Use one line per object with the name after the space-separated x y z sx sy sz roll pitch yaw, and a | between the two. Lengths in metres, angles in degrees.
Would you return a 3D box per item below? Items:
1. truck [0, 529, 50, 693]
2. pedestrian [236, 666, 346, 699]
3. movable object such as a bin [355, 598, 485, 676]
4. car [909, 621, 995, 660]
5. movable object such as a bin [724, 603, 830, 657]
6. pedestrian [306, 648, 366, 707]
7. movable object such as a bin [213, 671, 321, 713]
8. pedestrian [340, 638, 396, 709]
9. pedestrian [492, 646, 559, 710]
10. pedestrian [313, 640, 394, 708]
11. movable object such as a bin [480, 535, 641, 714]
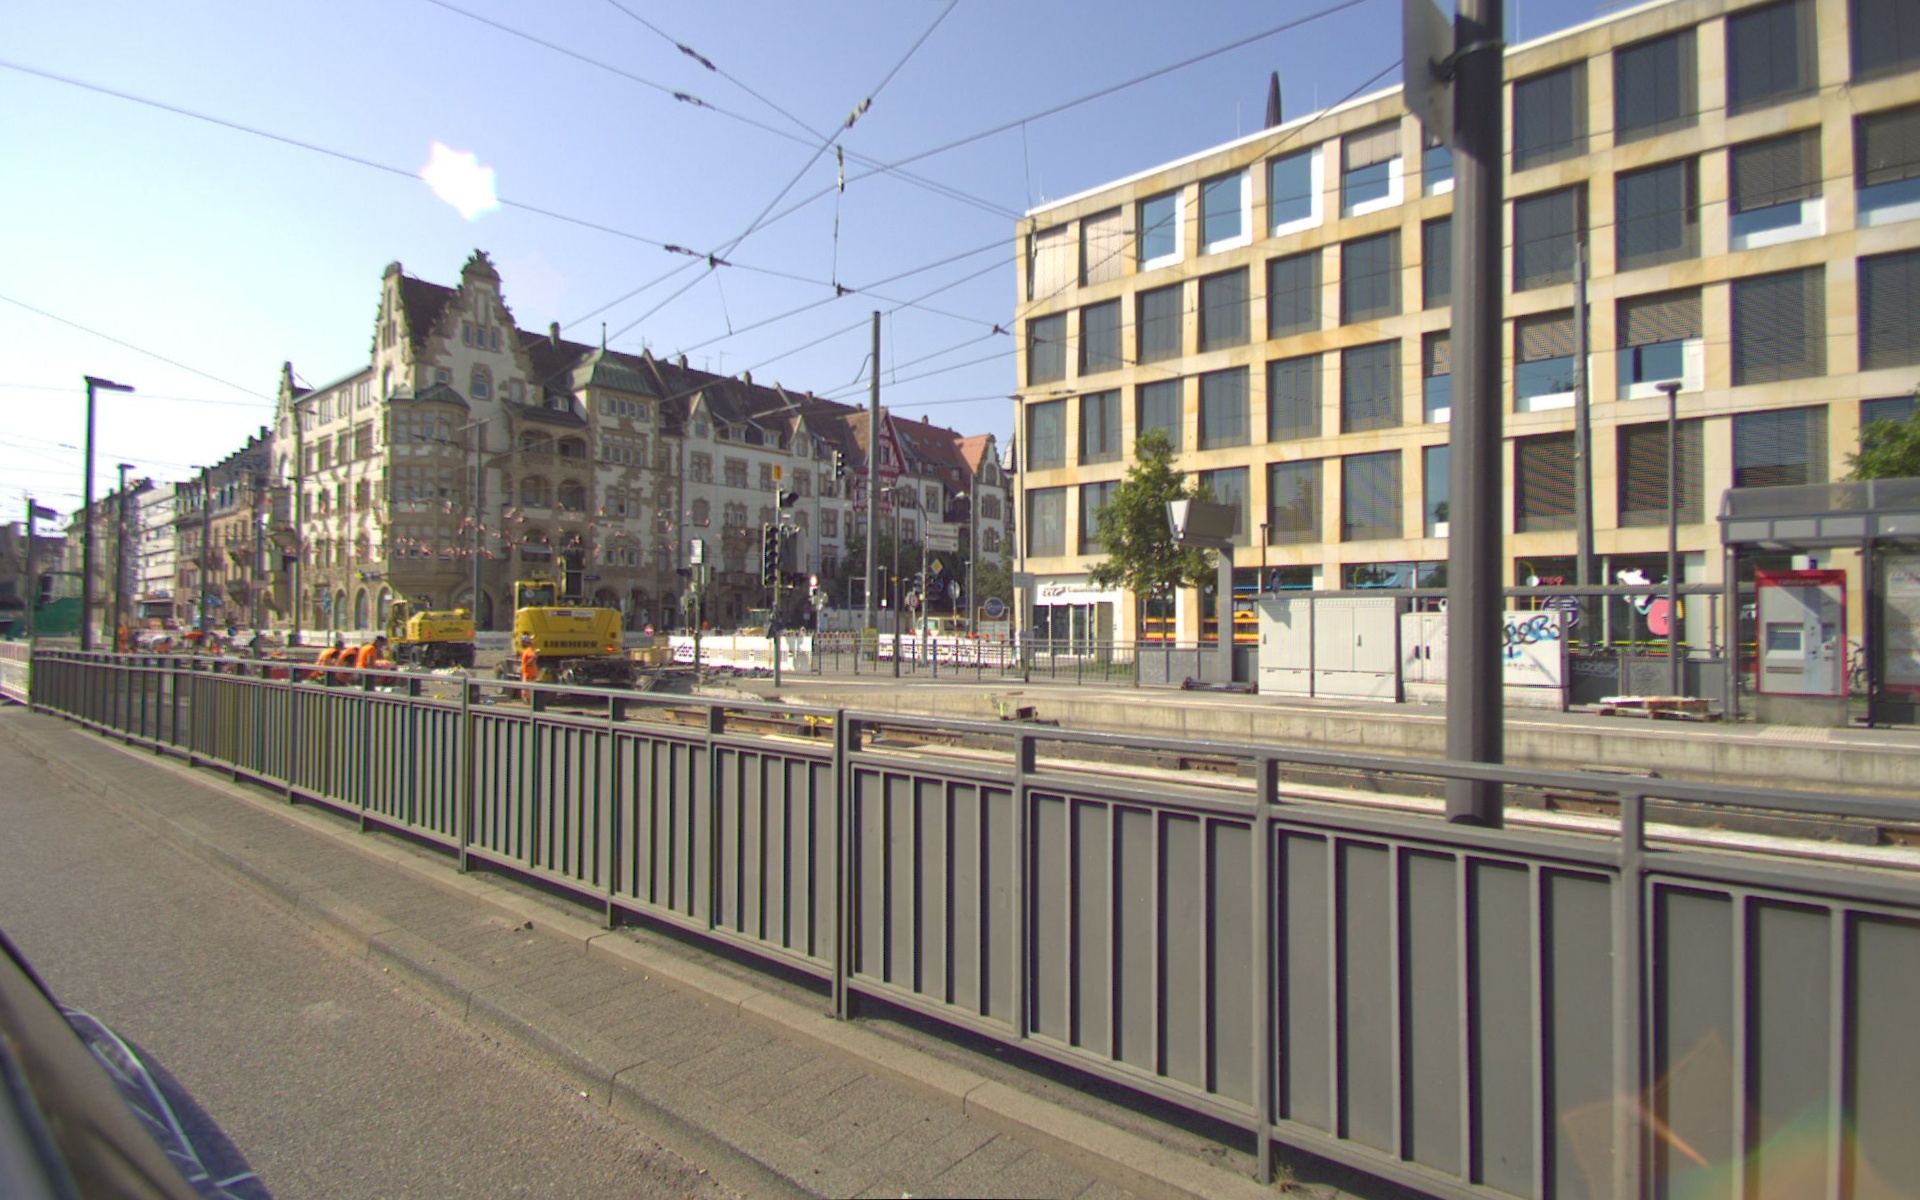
-25.499 0.332 24.689 8.185 3.706 2.654 -2 -3 32 | truck
-14.850 1.826 22.489 0.913 0.641 1.880 -2 -3 45 | pedestrian
-25.651 1.750 47.836 8.346 3.355 2.815 -2 -3 43 | movable object such as a bin
-0.389 2.195 54.793 1.815 2.046 5.050 -2 -3 40 | car
-9.855 1.628 54.984 2.134 2.760 5.554 -2 -3 40 | movable object such as a bin
-13.097 1.608 21.272 0.968 1.199 0.801 1 -3 -25 | pedestrian
-12.149 1.602 17.791 1.484 0.657 0.703 1 -3 -28 | movable object such as a bin
-11.365 1.395 19.456 0.825 1.316 0.801 1 -3 -25 | pedestrian
-9.197 1.632 21.443 0.983 1.316 1.003 -3 -3 45 | pedestrian
-12.123 1.470 20.279 1.293 1.316 0.801 1 -3 -25 | pedestrian
-11.166 0.759 27.739 3.454 4.044 9.070 1 -3 -25 | movable object such as a bin
